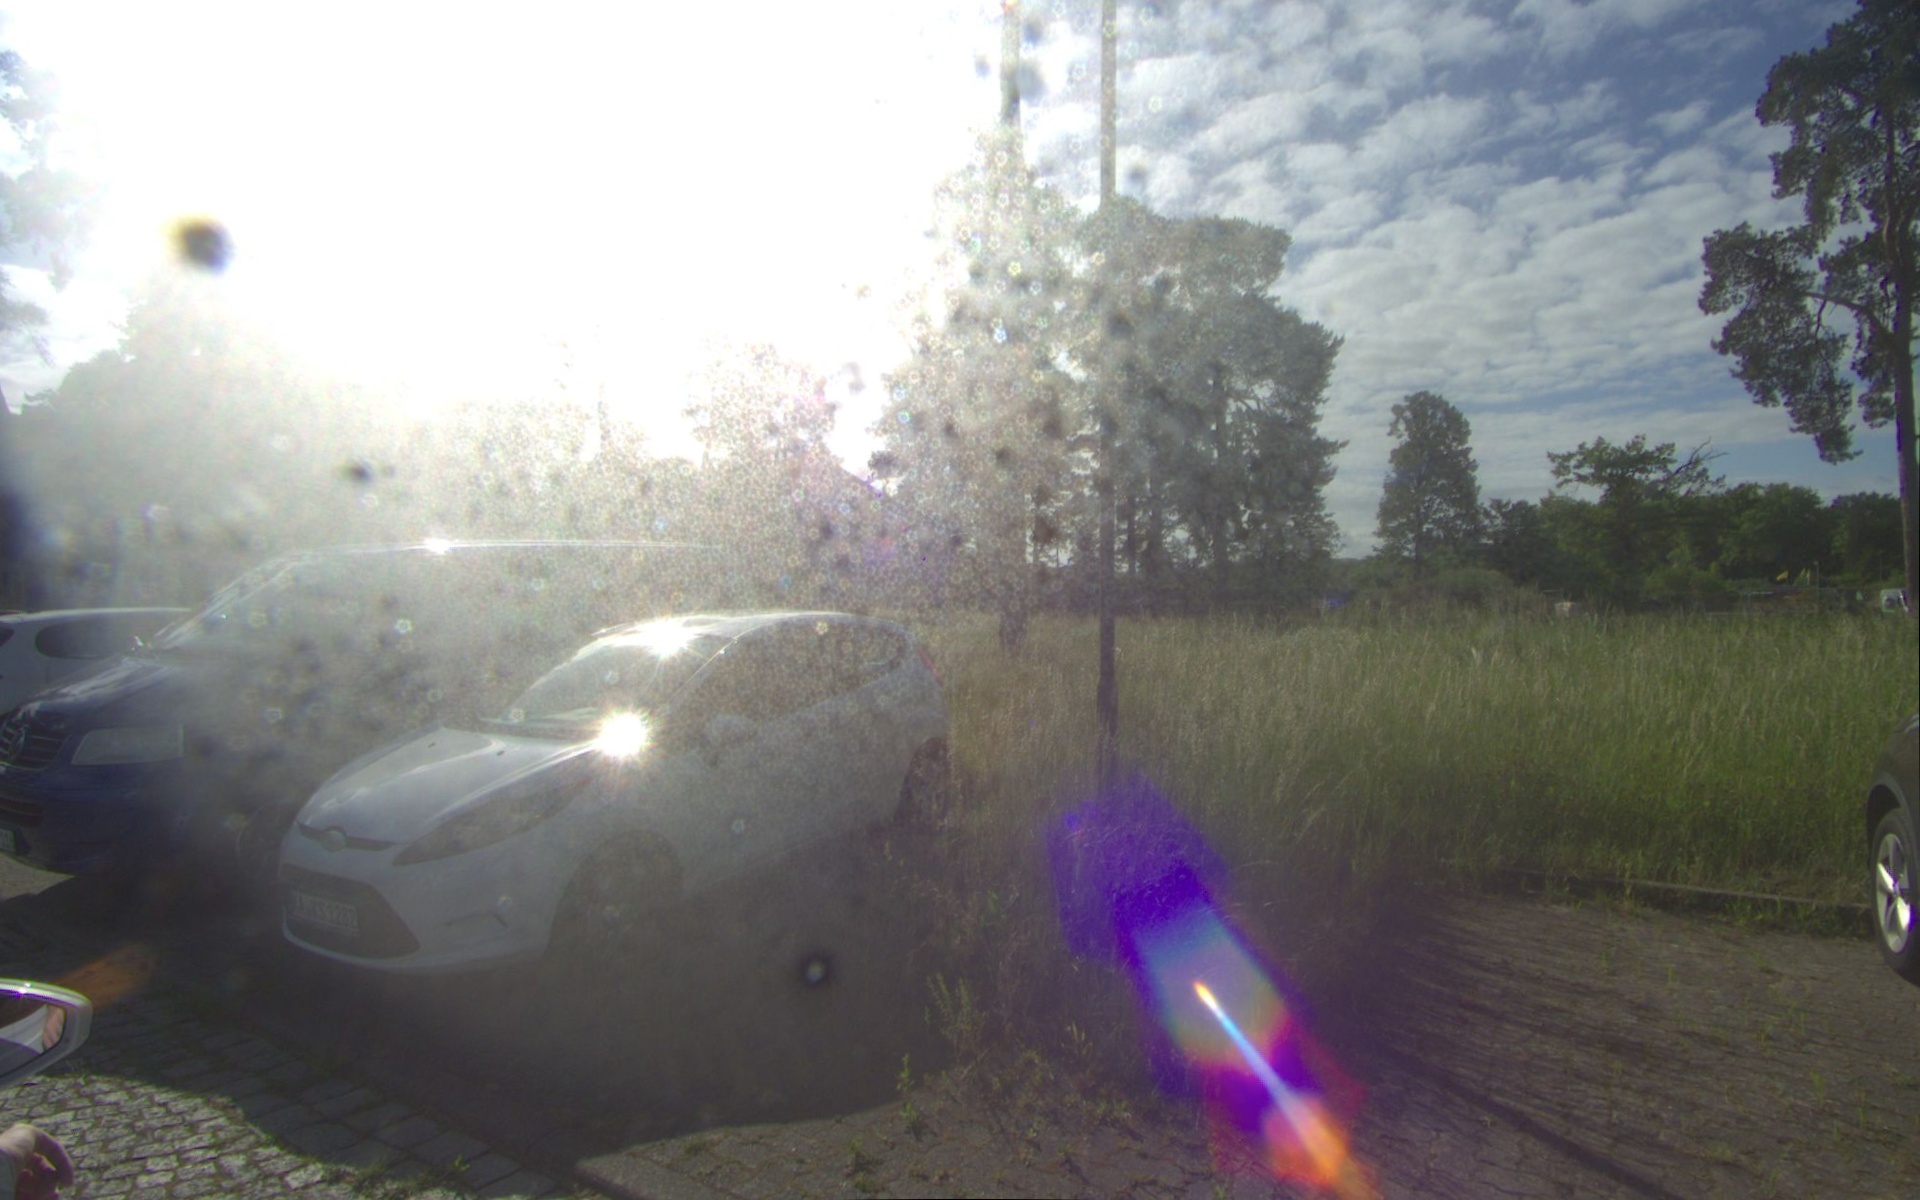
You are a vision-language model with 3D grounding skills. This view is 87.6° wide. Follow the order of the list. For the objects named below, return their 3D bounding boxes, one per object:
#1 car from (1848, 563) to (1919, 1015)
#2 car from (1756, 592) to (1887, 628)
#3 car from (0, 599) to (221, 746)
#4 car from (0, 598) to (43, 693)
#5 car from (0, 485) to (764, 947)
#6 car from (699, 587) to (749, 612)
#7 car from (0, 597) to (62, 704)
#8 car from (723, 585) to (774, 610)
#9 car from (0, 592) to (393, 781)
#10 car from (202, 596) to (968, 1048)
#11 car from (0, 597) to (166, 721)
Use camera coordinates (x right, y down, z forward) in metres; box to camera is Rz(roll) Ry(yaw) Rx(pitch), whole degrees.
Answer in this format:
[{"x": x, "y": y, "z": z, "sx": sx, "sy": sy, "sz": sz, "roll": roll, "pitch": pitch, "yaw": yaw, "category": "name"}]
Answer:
[{"x": 3.743, "y": 0.688, "z": 2.334, "sx": 1.745, "sy": 1.643, "sz": 3.929, "roll": 0, "pitch": 0, "yaw": 31, "category": "car"}, {"x": 54.765, "y": 0.682, "z": 63.795, "sx": 2.345, "sy": 2.200, "sz": 5.976, "roll": 0, "pitch": -1, "yaw": -34, "category": "car"}, {"x": -10.586, "y": 0.766, "z": 10.955, "sx": 1.621, "sy": 1.487, "sz": 3.668, "roll": 0, "pitch": 1, "yaw": 31, "category": "car"}, {"x": -16.942, "y": 0.737, "z": 15.605, "sx": 1.621, "sy": 1.550, "sz": 3.597, "roll": 0, "pitch": 0, "yaw": 31, "category": "car"}, {"x": -3.683, "y": 0.510, "z": 6.961, "sx": 2.052, "sy": 2.040, "sz": 4.671, "roll": 0, "pitch": 0, "yaw": 29, "category": "car"}, {"x": -20.180, "y": -0.039, "z": 85.774, "sx": 1.971, "sy": 2.040, "sz": 3.979, "roll": 0, "pitch": 0, "yaw": 32, "category": "car"}, {"x": -15.160, "y": 0.735, "z": 14.071, "sx": 1.621, "sy": 1.550, "sz": 3.472, "roll": 0, "pitch": 0, "yaw": 31, "category": "car"}, {"x": -17.703, "y": -0.204, "z": 83.996, "sx": 1.971, "sy": 2.040, "sz": 3.979, "roll": 0, "pitch": 0, "yaw": 32, "category": "car"}, {"x": -7.909, "y": 0.716, "z": 9.871, "sx": 1.622, "sy": 1.486, "sz": 3.684, "roll": 0, "pitch": 2, "yaw": 33, "category": "car"}, {"x": -1.558, "y": 0.749, "z": 5.421, "sx": 1.620, "sy": 1.508, "sz": 3.713, "roll": 0, "pitch": 1, "yaw": 30, "category": "car"}, {"x": -12.718, "y": 0.736, "z": 12.976, "sx": 1.621, "sy": 1.550, "sz": 3.472, "roll": 0, "pitch": 0, "yaw": 31, "category": "car"}]
